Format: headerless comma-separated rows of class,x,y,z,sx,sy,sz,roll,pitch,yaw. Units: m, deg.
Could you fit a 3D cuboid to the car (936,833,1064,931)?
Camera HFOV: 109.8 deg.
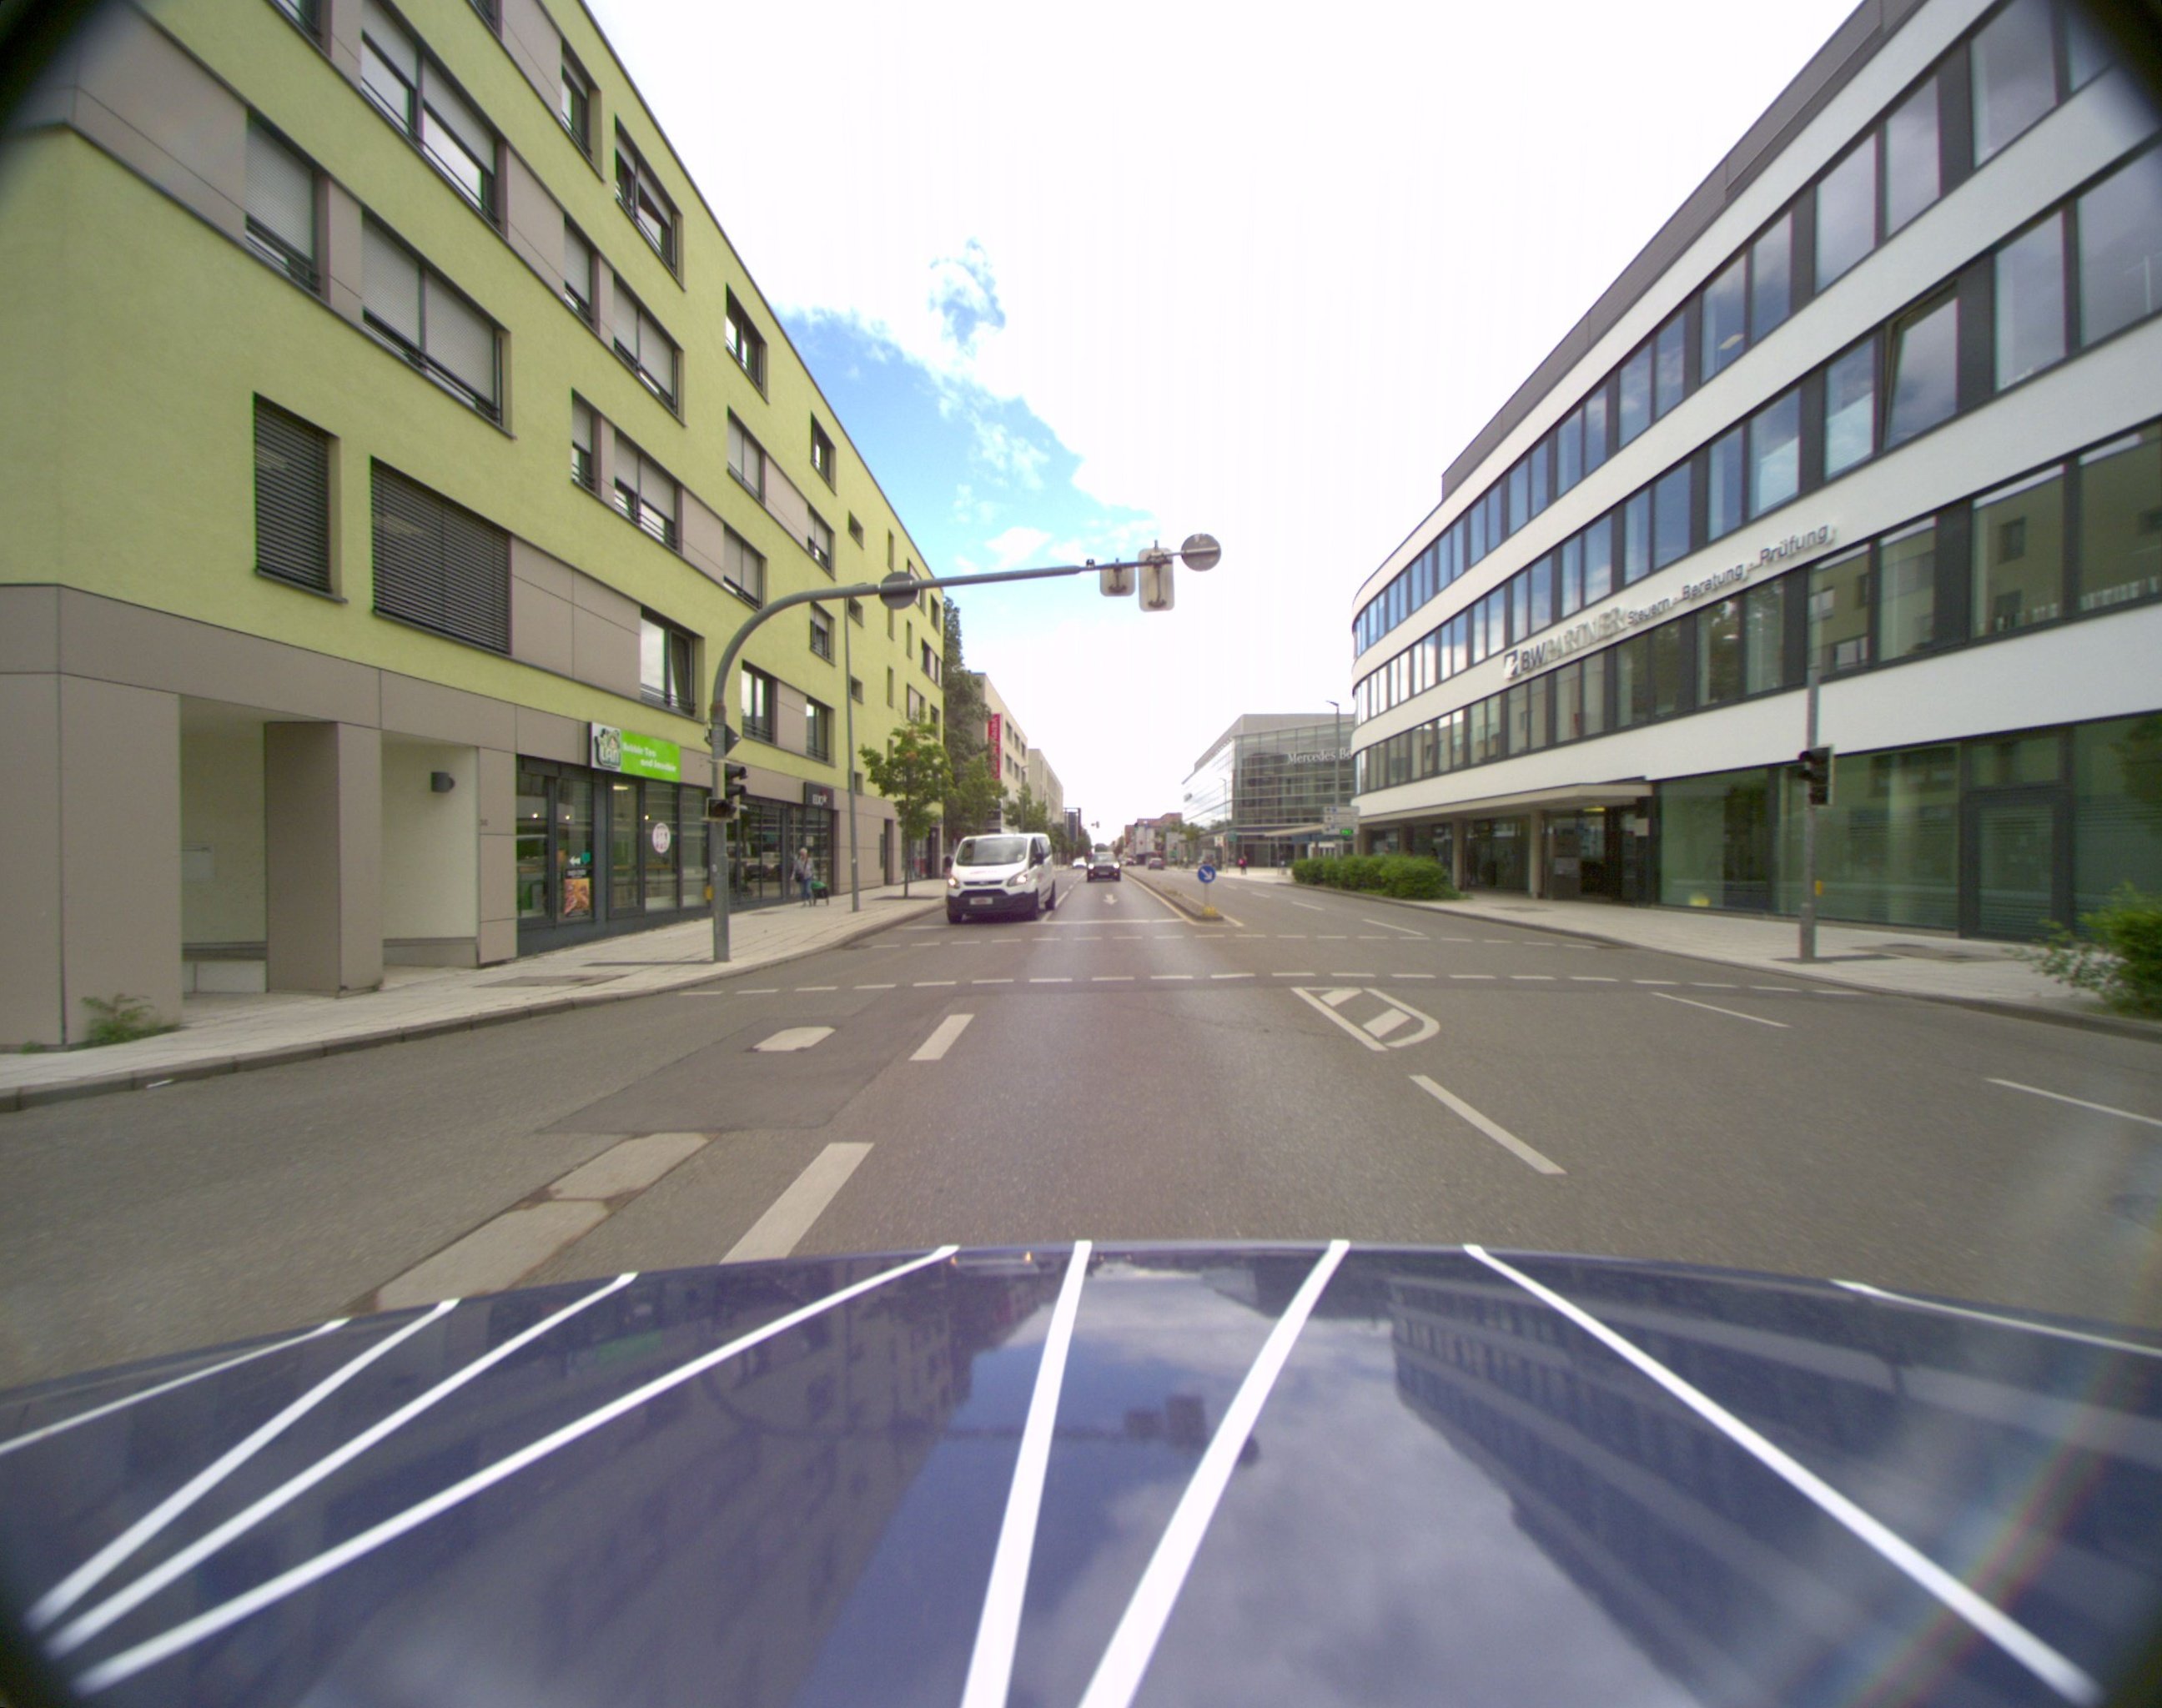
car,-1.756,0.586,18.273,1.999,1.976,5.003,-2,0,6

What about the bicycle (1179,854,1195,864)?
bicycle,13.785,0.685,99.152,0.749,1.199,2.025,-3,0,-44

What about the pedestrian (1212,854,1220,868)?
pedestrian,13.475,0.698,76.073,0.686,1.312,0.576,2,1,0

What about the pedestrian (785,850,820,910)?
pedestrian,-7.502,0.702,20.483,0.697,1.584,0.603,1,1,1

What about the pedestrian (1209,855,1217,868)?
pedestrian,13.454,0.755,77.344,0.686,1.246,0.576,1,1,0

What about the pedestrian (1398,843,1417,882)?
pedestrian,14.561,0.384,33.901,0.616,1.700,0.505,0,1,-29

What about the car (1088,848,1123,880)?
car,1.357,0.504,40.268,1.691,1.550,4.745,-1,0,3

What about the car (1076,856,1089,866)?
car,0.272,0.991,106.912,1.787,1.417,4.514,-1,0,1

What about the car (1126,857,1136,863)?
car,11.218,1.312,170.278,1.803,1.458,3.999,0,0,-4

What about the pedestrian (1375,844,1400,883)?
pedestrian,13.373,0.396,33.187,0.732,1.664,0.931,-1,0,4

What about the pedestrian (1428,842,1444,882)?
pedestrian,15.456,0.357,33.075,0.505,1.720,0.616,1,1,33

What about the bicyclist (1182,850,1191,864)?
bicyclist,13.763,0.379,99.141,0.749,1.789,0.772,-3,1,-44

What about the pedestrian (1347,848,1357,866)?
pedestrian,29.626,0.367,83.040,0.686,1.934,0.749,-1,1,-11

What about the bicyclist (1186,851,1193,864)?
bicyclist,13.775,0.470,96.378,0.782,1.639,0.639,-2,0,17

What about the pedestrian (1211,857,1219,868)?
pedestrian,13.495,0.842,76.745,0.686,1.069,0.576,2,1,0

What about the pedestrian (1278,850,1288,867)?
pedestrian,23.693,0.551,89.015,0.904,1.934,0.748,-2,1,-37

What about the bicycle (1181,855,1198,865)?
bicycle,13.754,0.745,96.390,2.002,1.124,0.639,-2,0,17

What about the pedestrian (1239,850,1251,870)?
pedestrian,13.091,0.492,60.760,0.832,1.558,0.813,-1,0,7

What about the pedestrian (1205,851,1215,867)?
pedestrian,13.242,0.502,77.984,0.688,1.622,0.574,1,1,-39

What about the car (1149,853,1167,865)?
car,9.545,0.582,93.992,1.901,1.407,4.471,-2,0,2

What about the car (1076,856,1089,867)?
car,0.250,1.087,113.573,1.740,1.533,4.790,-2,0,2

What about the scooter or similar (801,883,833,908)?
scooter or similar,-7.354,1.152,21.209,0.593,0.669,0.824,1,0,1

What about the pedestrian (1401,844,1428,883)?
pedestrian,14.221,0.389,32.422,0.732,1.604,0.931,-1,0,4
